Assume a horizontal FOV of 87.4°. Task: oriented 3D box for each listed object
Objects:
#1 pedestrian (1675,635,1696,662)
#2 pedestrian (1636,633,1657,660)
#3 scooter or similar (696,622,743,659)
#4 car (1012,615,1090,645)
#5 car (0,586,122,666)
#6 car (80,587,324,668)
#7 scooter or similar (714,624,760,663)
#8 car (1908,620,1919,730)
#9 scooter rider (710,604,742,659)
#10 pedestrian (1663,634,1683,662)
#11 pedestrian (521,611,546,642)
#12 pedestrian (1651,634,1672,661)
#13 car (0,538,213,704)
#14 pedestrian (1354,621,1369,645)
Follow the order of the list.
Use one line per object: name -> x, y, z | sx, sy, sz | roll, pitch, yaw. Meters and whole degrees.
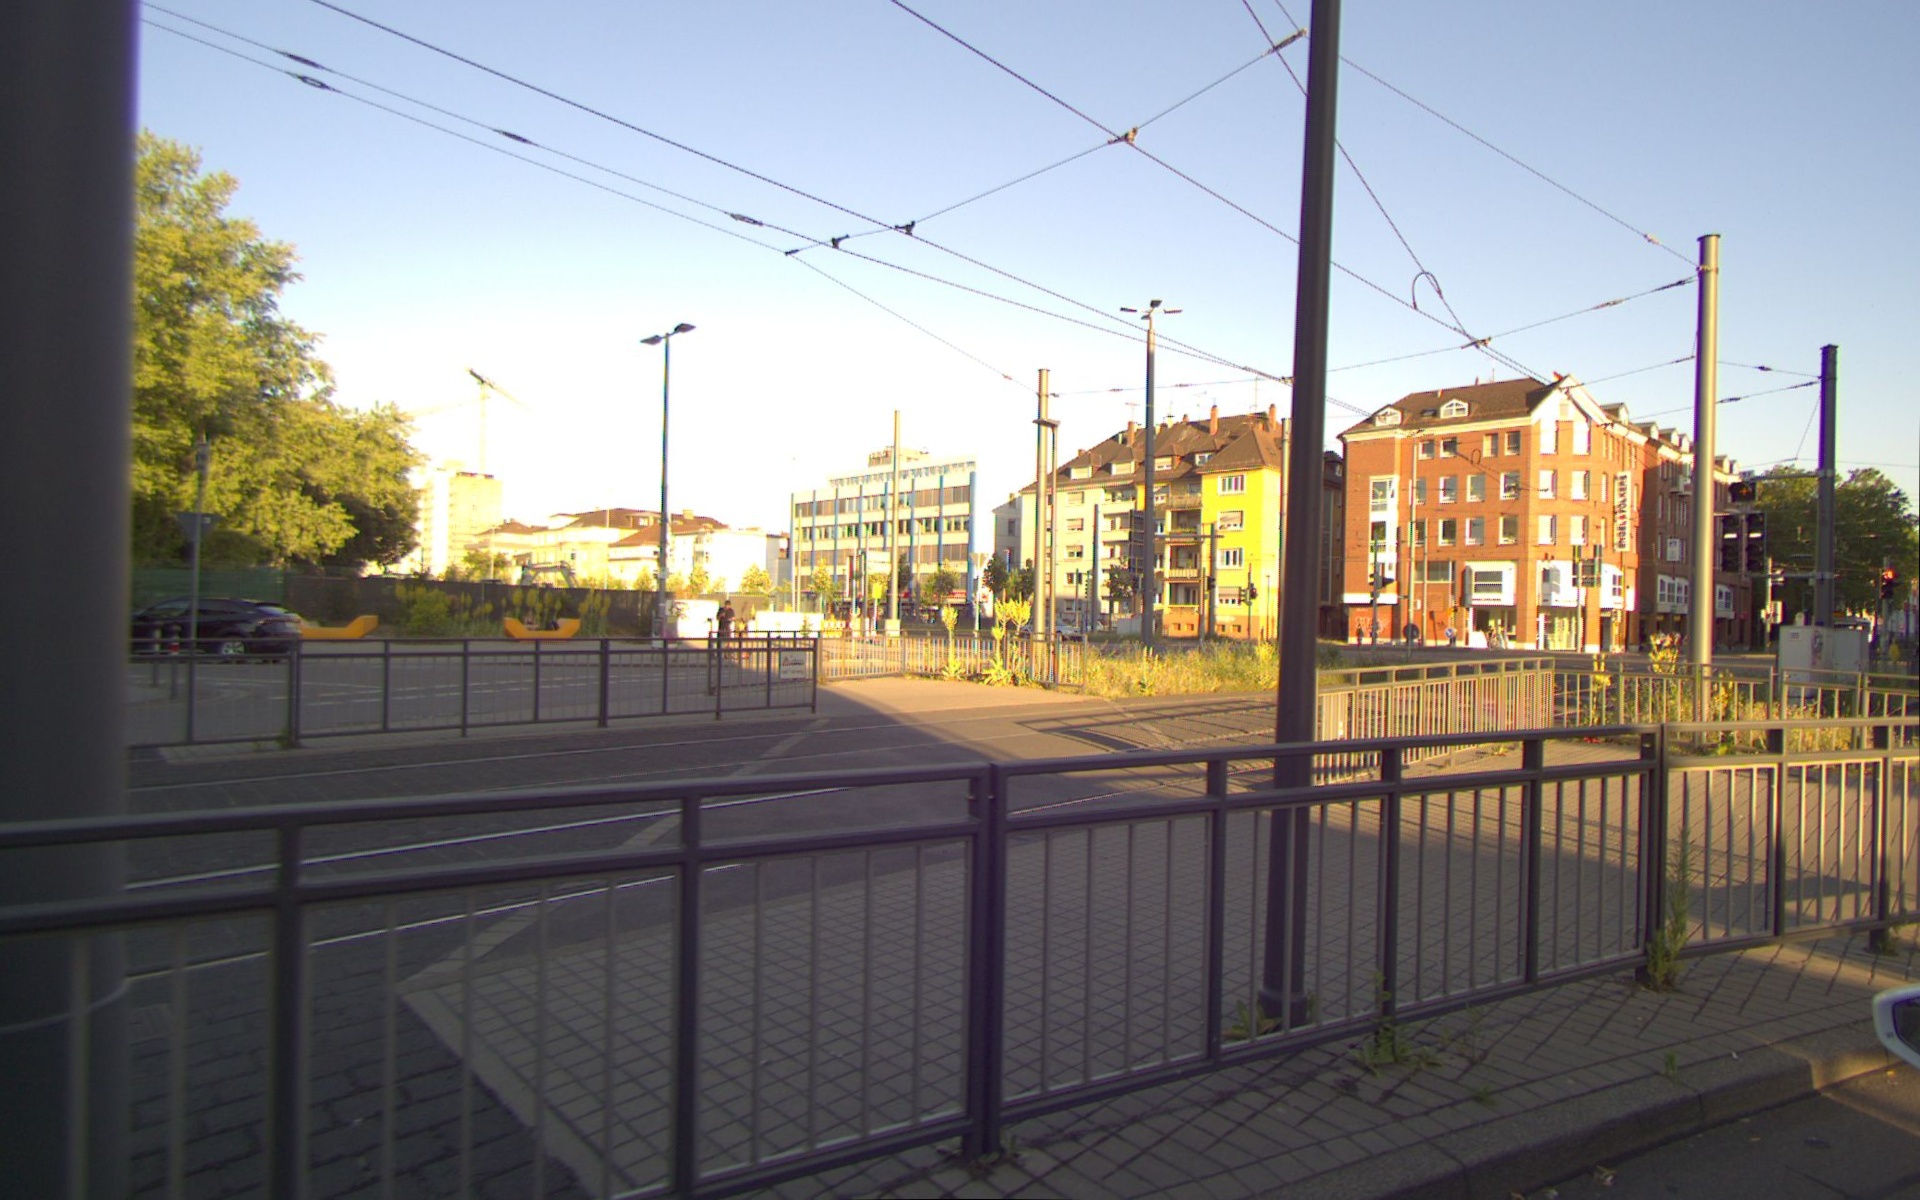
pedestrian -> 57.132, 3.817, 79.104 | 1.155, 2.040, 1.083 | 2, 1, -43
pedestrian -> 52.674, 3.565, 77.092 | 0.902, 2.040, 1.083 | 2, 1, -43
scooter or similar -> -7.247, 1.208, 30.325 | 0.419, 1.077, 1.623 | 3, 0, 24
car -> 5.388, 1.766, 59.650 | 4.289, 1.572, 1.990 | 2, -1, 42
car -> -21.687, 0.516, 22.532 | 3.924, 1.598, 1.998 | 3, 0, -5
car -> -17.215, 0.602, 23.006 | 3.924, 1.567, 1.998 | 3, 0, -5
scooter or similar -> -6.656, 1.293, 30.053 | 0.419, 1.097, 1.623 | 3, 0, 24
car -> 14.797, 1.142, 14.059 | 1.812, 1.658, 4.073 | 2, 0, 38
scooter rider -> -7.120, 0.948, 30.553 | 0.576, 1.614, 0.657 | 3, 0, 28
pedestrian -> 53.711, 3.630, 75.687 | 0.902, 2.040, 0.967 | 2, 1, -43
pedestrian -> -17.167, 1.066, 40.457 | 0.699, 1.227, 0.717 | 2, 1, -42
pedestrian -> 54.072, 3.644, 77.423 | 0.902, 2.040, 1.083 | 2, 1, -43
car -> -12.603, 0.264, 14.243 | 3.932, 2.040, 1.995 | 1, -1, 34
pedestrian -> 30.135, 2.467, 75.366 | 0.657, 1.765, 0.688 | 3, -1, -18
